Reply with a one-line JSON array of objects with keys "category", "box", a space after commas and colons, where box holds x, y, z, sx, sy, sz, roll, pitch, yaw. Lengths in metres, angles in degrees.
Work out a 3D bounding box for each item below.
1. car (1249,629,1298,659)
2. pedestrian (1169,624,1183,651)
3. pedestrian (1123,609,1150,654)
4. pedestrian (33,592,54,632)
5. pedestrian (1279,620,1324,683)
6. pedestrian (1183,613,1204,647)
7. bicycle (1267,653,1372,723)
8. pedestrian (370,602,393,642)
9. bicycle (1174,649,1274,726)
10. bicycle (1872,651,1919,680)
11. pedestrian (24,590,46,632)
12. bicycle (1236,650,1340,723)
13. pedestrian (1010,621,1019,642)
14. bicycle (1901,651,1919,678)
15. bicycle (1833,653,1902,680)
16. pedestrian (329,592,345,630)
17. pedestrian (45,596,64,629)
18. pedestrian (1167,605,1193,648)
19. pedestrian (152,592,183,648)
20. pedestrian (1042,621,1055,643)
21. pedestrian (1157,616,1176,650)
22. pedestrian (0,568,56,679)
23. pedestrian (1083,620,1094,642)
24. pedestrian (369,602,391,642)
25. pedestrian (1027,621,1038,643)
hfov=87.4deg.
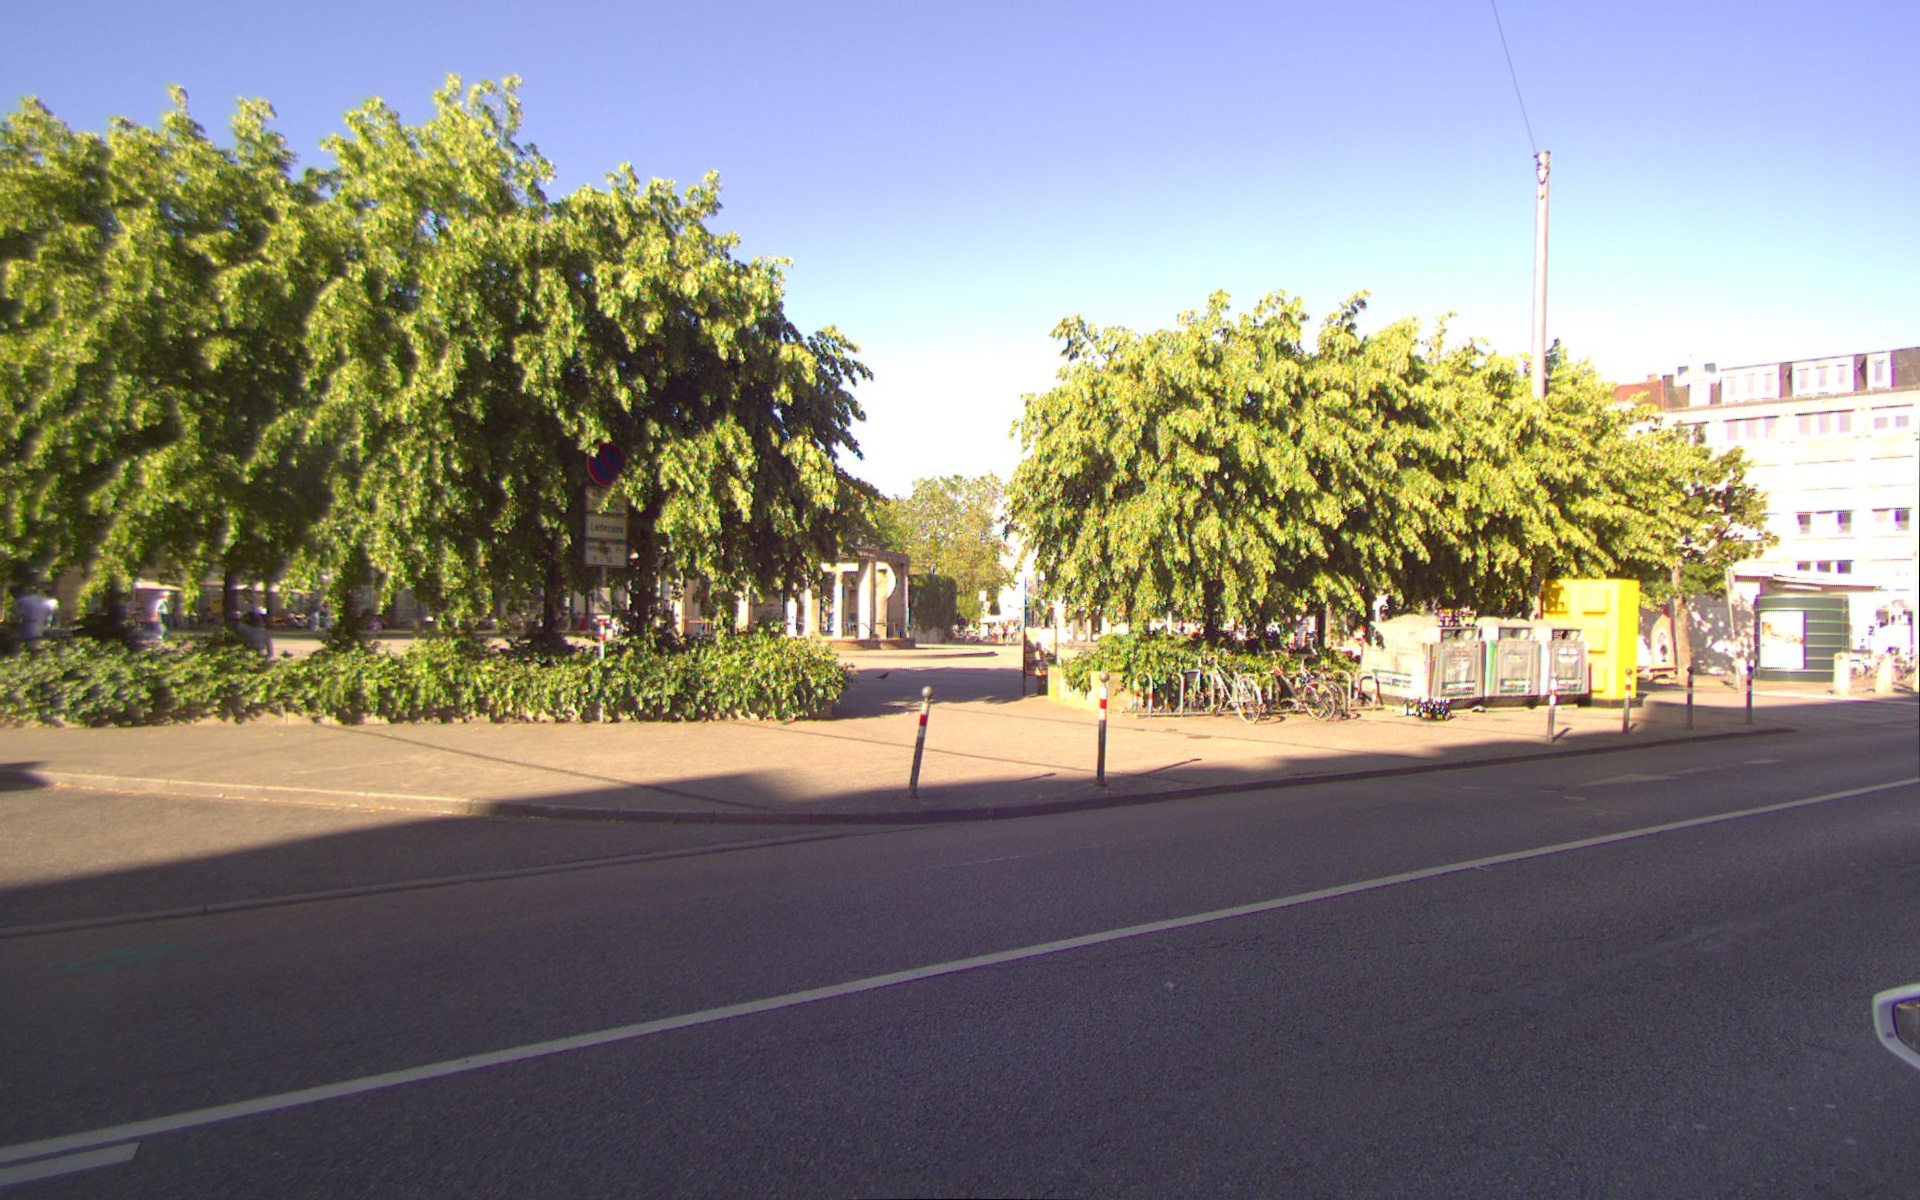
[{"category": "car", "box": [16.335, 2.264, 52.468, 1.658, 1.405, 3.575, 1, -1, 5]}, {"category": "pedestrian", "box": [14.224, 2.442, 66.178, 0.741, 1.740, 0.854, 1, -1, 4]}, {"category": "pedestrian", "box": [8.068, 1.440, 45.833, 0.875, 2.040, 0.896, 1, 0, -17]}, {"category": "pedestrian", "box": [-40.496, 0.527, 44.373, 0.600, 1.744, 0.643, 2, 0, 45]}, {"category": "pedestrian", "box": [11.528, 1.728, 33.933, 0.967, 2.040, 1.042, 2, 0, -42]}, {"category": "pedestrian", "box": [11.891, 1.507, 51.160, 0.774, 1.720, 0.763, 1, 0, -6]}, {"category": "bicycle", "box": [5.827, 1.405, 16.418, 0.508, 0.968, 1.898, 2, 0, -20]}, {"category": "pedestrian", "box": [-25.330, 0.961, 43.966, 0.598, 1.744, 0.645, 2, 0, 32]}, {"category": "bicycle", "box": [4.072, 1.329, 15.656, 0.508, 1.029, 1.930, 2, 0, -19]}, {"category": "bicycle", "box": [33.191, 2.296, 35.114, 0.599, 0.946, 1.855, 1, -1, -30]}, {"category": "pedestrian", "box": [-39.693, 0.476, 43.103, 0.600, 1.744, 0.643, 2, 0, 45]}, {"category": "bicycle", "box": [5.275, 1.370, 16.283, 0.508, 1.016, 1.923, 2, 0, -20]}, {"category": "pedestrian", "box": [5.044, 2.921, 93.008, 0.718, 1.862, 0.697, 2, 0, -5]}, {"category": "bicycle", "box": [35.092, 2.335, 36.014, 0.599, 0.946, 1.854, 2, 0, -30]}, {"category": "bicycle", "box": [30.822, 2.249, 34.129, 0.600, 0.802, 1.634, 2, 0, -33]}, {"category": "pedestrian", "box": [-32.894, 0.580, 53.048, 0.669, 1.974, 0.634, 2, 0, -33]}, {"category": "pedestrian", "box": [-48.766, 0.691, 54.116, 0.599, 1.744, 0.644, 2, 0, 39]}, {"category": "pedestrian", "box": [10.723, 1.288, 49.027, 0.875, 2.040, 0.896, 1, 0, -17]}, {"category": "pedestrian", "box": [-25.258, 0.625, 32.029, 0.599, 1.744, 0.644, 2, 0, 41]}, {"category": "pedestrian", "box": [8.251, 2.975, 93.756, 1.014, 2.040, 1.159, 2, 0, -5]}, {"category": "pedestrian", "box": [12.478, 1.974, 60.771, 0.873, 2.040, 0.898, 1, -1, -9]}, {"category": "pedestrian", "box": [-14.609, 0.354, 15.574, 0.615, 1.671, 0.654, 2, 0, -16]}, {"category": "pedestrian", "box": [12.759, 3.057, 99.633, 0.860, 2.199, 0.902, 2, 0, -5]}, {"category": "pedestrian", "box": [-25.343, 0.960, 43.896, 0.599, 1.744, 0.644, 2, 0, 37]}, {"category": "pedestrian", "box": [6.650, 2.925, 92.093, 0.860, 2.040, 0.902, 2, 0, -5]}]
